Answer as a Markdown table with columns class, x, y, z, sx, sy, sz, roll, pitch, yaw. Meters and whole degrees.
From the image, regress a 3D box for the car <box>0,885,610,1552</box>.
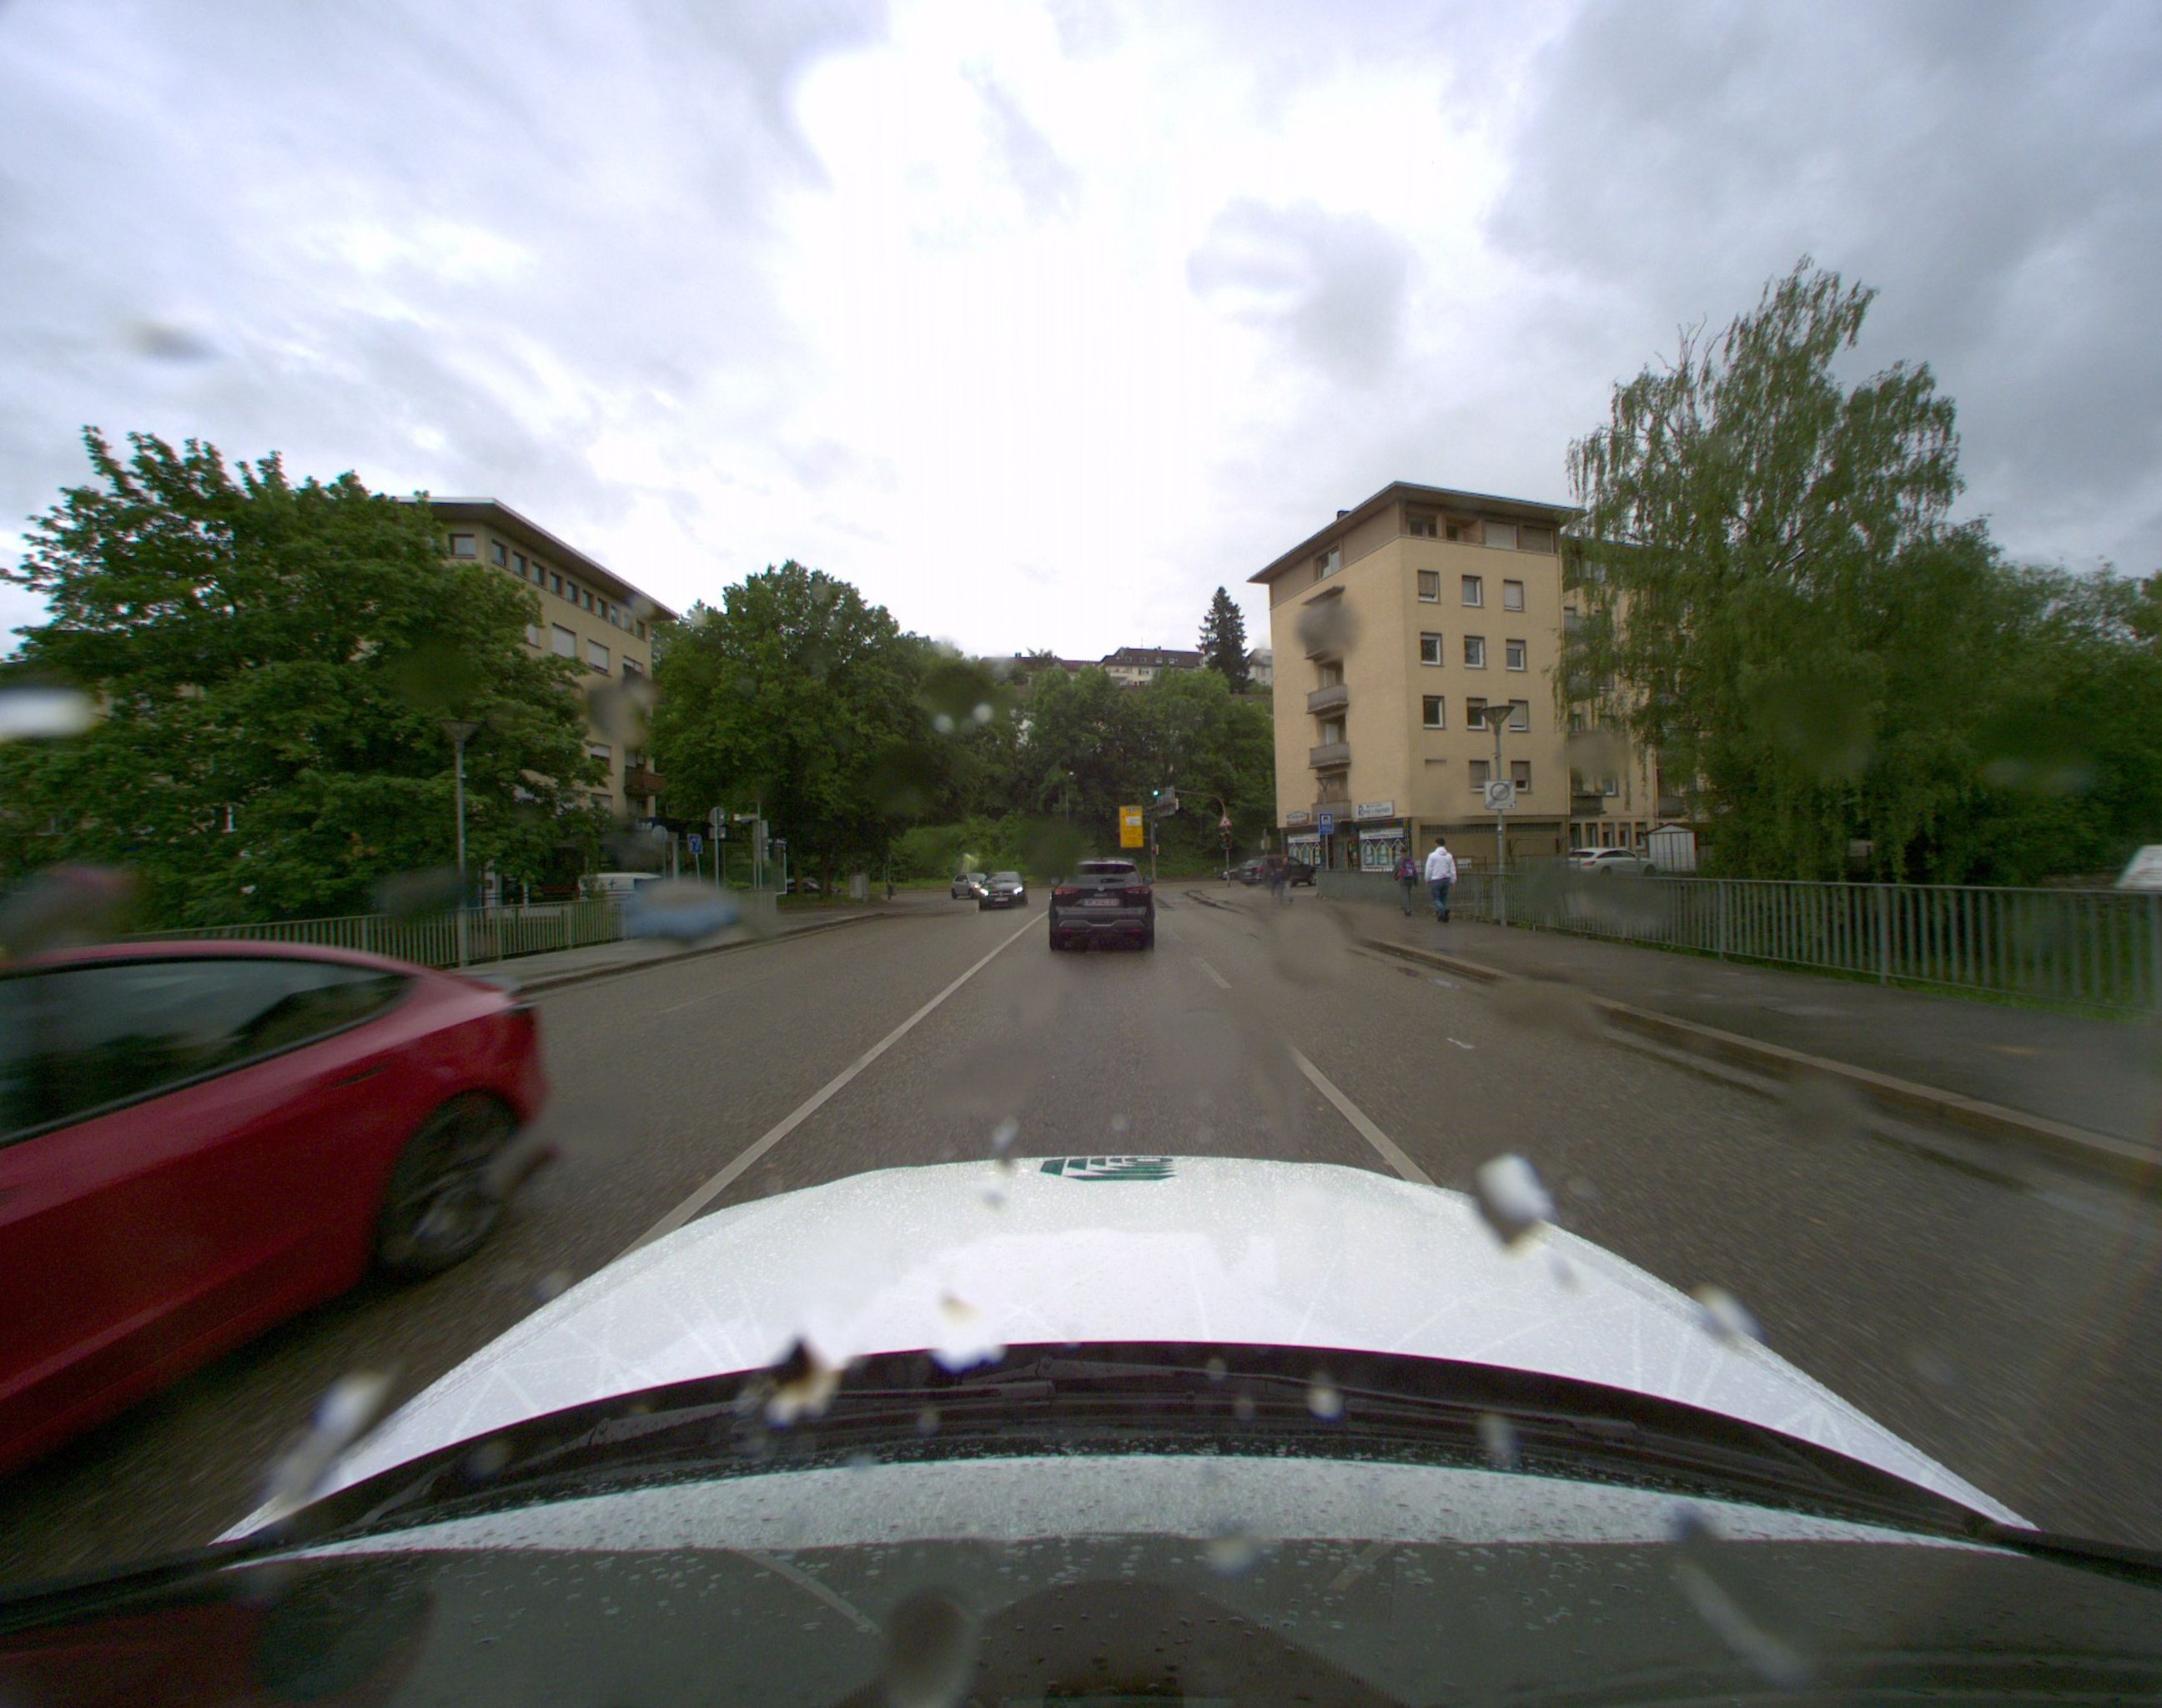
| class | x | y | z | sx | sy | sz | roll | pitch | yaw |
| --- | --- | --- | --- | --- | --- | --- | --- | --- | --- |
| car | -3.323 | 0.900 | 1.937 | 1.775 | 1.402 | 4.220 | -3 | 0 | 2 |

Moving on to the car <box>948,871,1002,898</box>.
| class | x | y | z | sx | sy | sz | roll | pitch | yaw |
| --- | --- | --- | --- | --- | --- | --- | --- | --- | --- |
| car | -6.187 | 1.774 | 47.266 | 1.638 | 1.420 | 3.647 | -1 | -1 | -34 |

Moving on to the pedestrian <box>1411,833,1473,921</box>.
| class | x | y | z | sx | sy | sz | roll | pitch | yaw |
| --- | --- | --- | --- | --- | --- | --- | --- | --- | --- |
| pedestrian | 7.535 | 0.477 | 17.031 | 0.777 | 1.752 | 1.061 | -2 | -1 | 1 |

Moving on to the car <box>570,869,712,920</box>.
| class | x | y | z | sx | sy | sz | roll | pitch | yaw |
| --- | --- | --- | --- | --- | --- | --- | --- | --- | --- |
| car | -18.262 | 1.636 | 34.010 | 4.738 | 1.854 | 1.995 | -1 | 1 | -8 |

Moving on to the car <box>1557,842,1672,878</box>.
| class | x | y | z | sx | sy | sz | roll | pitch | yaw |
| --- | --- | --- | --- | --- | --- | --- | --- | --- | --- |
| car | 23.709 | 0.251 | 36.233 | 4.447 | 1.376 | 1.808 | -2 | 2 | -15 |

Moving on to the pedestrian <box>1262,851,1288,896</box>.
| class | x | y | z | sx | sy | sz | roll | pitch | yaw |
| --- | --- | --- | --- | --- | --- | --- | --- | --- | --- |
| pedestrian | 7.569 | 0.761 | 31.803 | 0.758 | 1.677 | 0.781 | -4 | 0 | 1 |

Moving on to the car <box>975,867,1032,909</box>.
| class | x | y | z | sx | sy | sz | roll | pitch | yaw |
| --- | --- | --- | --- | --- | --- | --- | --- | --- | --- |
| car | -3.005 | 1.299 | 32.369 | 1.703 | 1.416 | 4.095 | -3 | -1 | 1 |

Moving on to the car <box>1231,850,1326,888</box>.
| class | x | y | z | sx | sy | sz | roll | pitch | yaw |
| --- | --- | --- | --- | --- | --- | --- | --- | --- | --- |
| car | 10.030 | 0.743 | 41.307 | 4.388 | 1.649 | 1.868 | -3 | -1 | -25 |

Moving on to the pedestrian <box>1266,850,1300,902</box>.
| class | x | y | z | sx | sy | sz | roll | pitch | yaw |
| --- | --- | --- | --- | --- | --- | --- | --- | --- | --- |
| pedestrian | 6.565 | 0.713 | 26.501 | 0.859 | 1.619 | 0.840 | -3 | -1 | 1 |

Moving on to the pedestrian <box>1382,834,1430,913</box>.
| class | x | y | z | sx | sy | sz | roll | pitch | yaw |
| --- | --- | --- | --- | --- | --- | --- | --- | --- | --- |
| pedestrian | 7.758 | 0.456 | 19.472 | 0.758 | 1.809 | 0.781 | -3 | -1 | 1 |

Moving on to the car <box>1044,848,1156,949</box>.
| class | x | y | z | sx | sy | sz | roll | pitch | yaw |
| --- | --- | --- | --- | --- | --- | --- | --- | --- | --- |
| car | 0.365 | 0.779 | 15.368 | 1.804 | 1.603 | 4.001 | -2 | -1 | 1 |

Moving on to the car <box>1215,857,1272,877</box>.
| class | x | y | z | sx | sy | sz | roll | pitch | yaw |
| --- | --- | --- | --- | --- | --- | --- | --- | --- | --- |
| car | 13.850 | 1.122 | 69.581 | 4.325 | 1.502 | 1.877 | -3 | -1 | -10 |
